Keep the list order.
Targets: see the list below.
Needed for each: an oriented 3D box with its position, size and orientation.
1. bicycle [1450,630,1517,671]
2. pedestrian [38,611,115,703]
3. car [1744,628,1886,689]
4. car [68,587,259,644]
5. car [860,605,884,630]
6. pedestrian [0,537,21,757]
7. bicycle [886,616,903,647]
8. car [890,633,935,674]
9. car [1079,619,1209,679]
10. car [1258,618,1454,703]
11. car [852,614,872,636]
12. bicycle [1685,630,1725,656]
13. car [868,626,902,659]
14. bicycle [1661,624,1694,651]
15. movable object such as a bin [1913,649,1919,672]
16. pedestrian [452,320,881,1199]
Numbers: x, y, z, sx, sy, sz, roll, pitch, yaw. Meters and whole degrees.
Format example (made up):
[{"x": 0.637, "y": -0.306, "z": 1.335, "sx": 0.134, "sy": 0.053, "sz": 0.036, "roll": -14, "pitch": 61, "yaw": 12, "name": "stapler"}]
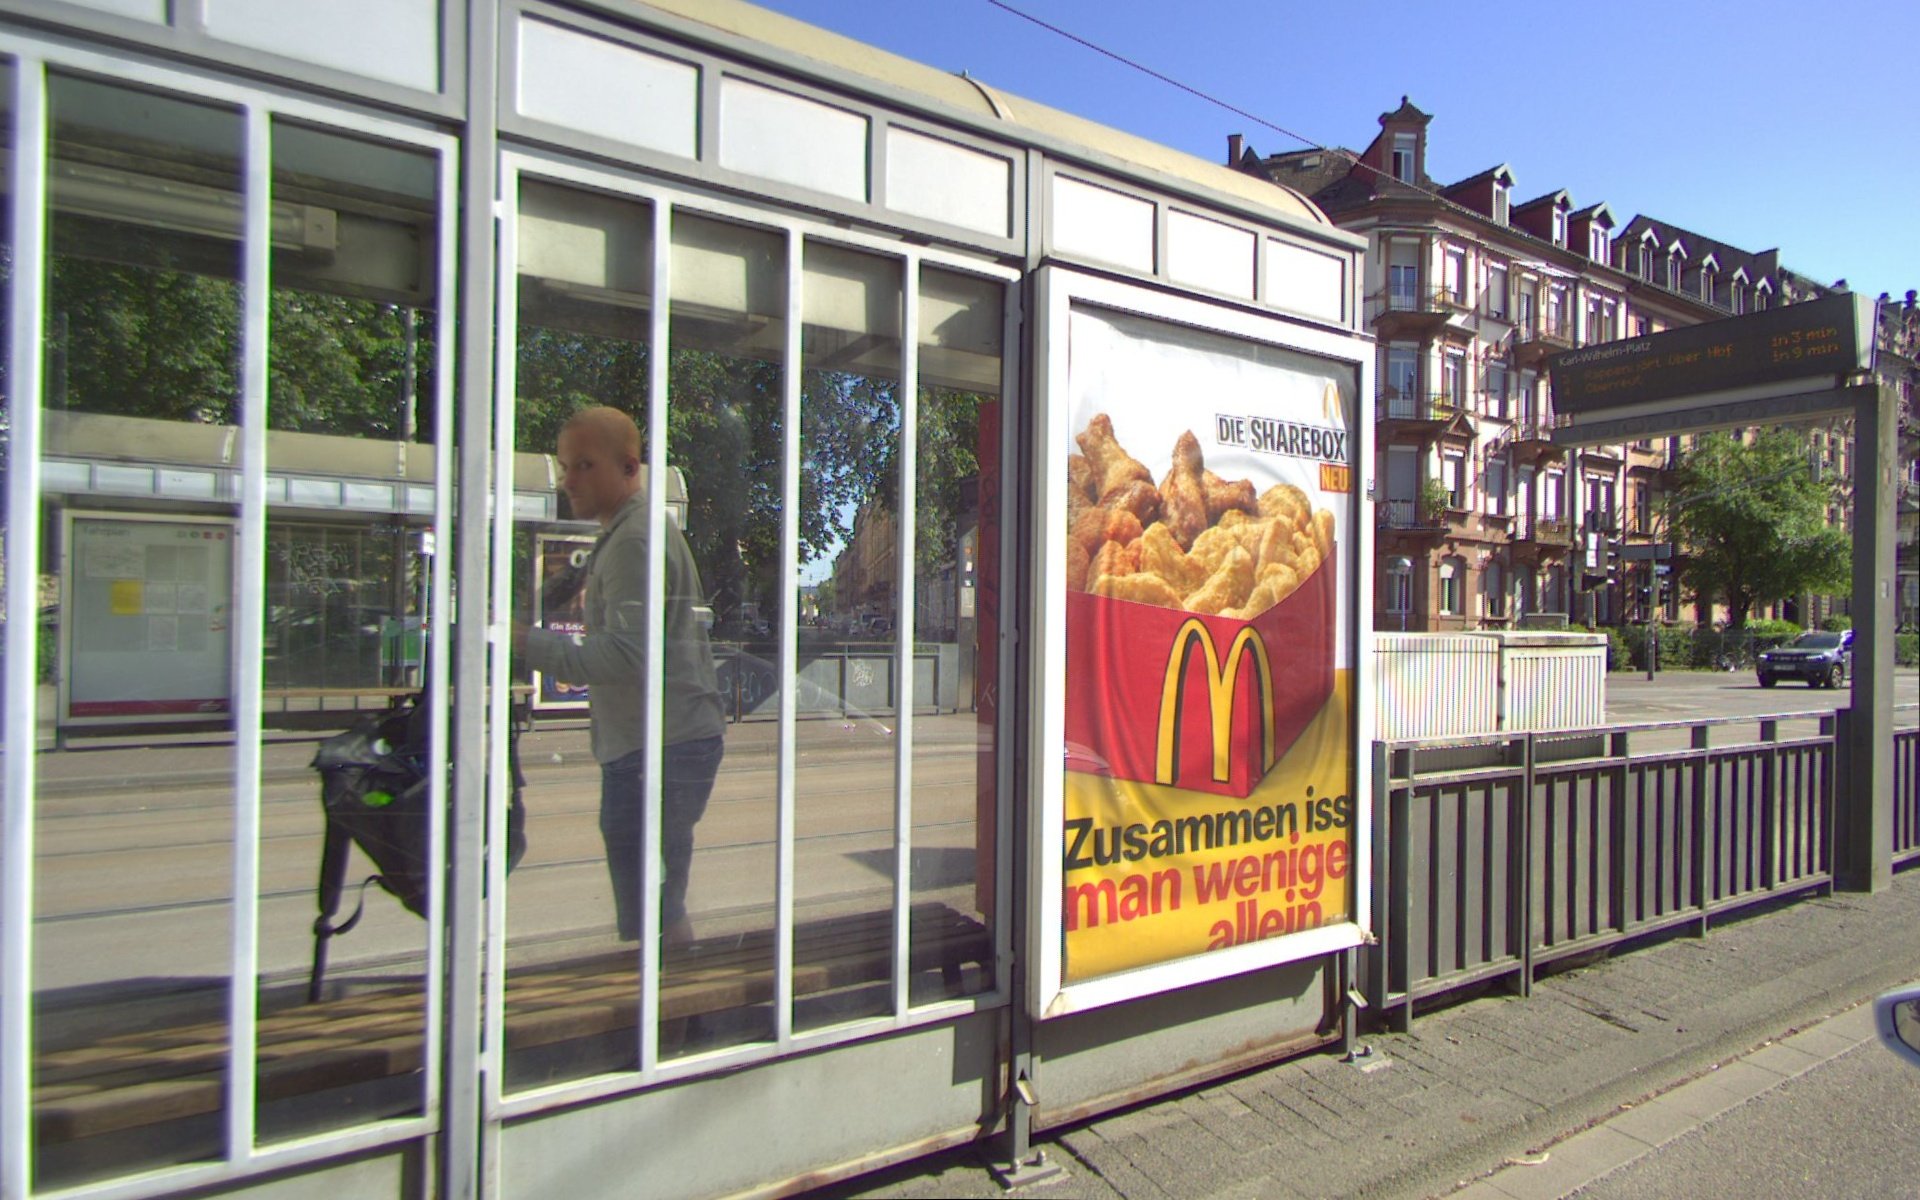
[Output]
[{"x": 18.160, "y": 1.735, "z": 34.876, "sx": 2.004, "sy": 1.313, "sz": 0.420, "roll": 2, "pitch": 0, "yaw": 11, "name": "bicycle"}, {"x": -13.017, "y": 0.823, "z": 14.823, "sx": 0.715, "sy": 1.298, "sz": 0.654, "roll": 1, "pitch": 0, "yaw": -30, "name": "pedestrian"}, {"x": 24.691, "y": 1.684, "z": 28.997, "sx": 4.216, "sy": 1.639, "sz": 1.888, "roll": 2, "pitch": -3, "yaw": -31, "name": "car"}, {"x": -18.973, "y": 0.367, "z": 24.003, "sx": 1.507, "sy": 1.232, "sz": 3.435, "roll": 2, "pitch": 0, "yaw": 45, "name": "car"}, {"x": -6.344, "y": 1.245, "z": 72.170, "sx": 1.534, "sy": 1.623, "sz": 3.452, "roll": 2, "pitch": 0, "yaw": -7, "name": "car"}, {"x": -8.295, "y": 0.383, "z": 8.295, "sx": 0.666, "sy": 1.808, "sz": 0.462, "roll": 1, "pitch": -1, "yaw": -32, "name": "pedestrian"}, {"x": -2.326, "y": 1.103, "z": 35.486, "sx": 0.563, "sy": 1.006, "sz": 1.548, "roll": 2, "pitch": 0, "yaw": -4, "name": "bicycle"}, {"x": -2.162, "y": 2.358, "z": 44.859, "sx": 1.683, "sy": 1.623, "sz": 3.452, "roll": 2, "pitch": 0, "yaw": -7, "name": "car"}, {"x": 5.159, "y": 1.345, "z": 28.512, "sx": 1.566, "sy": 1.461, "sz": 3.416, "roll": 1, "pitch": 0, "yaw": -40, "name": "car"}, {"x": 8.114, "y": 1.208, "z": 20.560, "sx": 3.750, "sy": 1.560, "sz": 1.684, "roll": 2, "pitch": 0, "yaw": -28, "name": "car"}, {"x": -8.213, "y": 2.075, "z": 83.932, "sx": 1.534, "sy": 1.623, "sz": 3.452, "roll": 2, "pitch": 0, "yaw": -7, "name": "car"}, {"x": 27.431, "y": 1.582, "z": 36.994, "sx": 1.917, "sy": 0.938, "sz": 0.340, "roll": 2, "pitch": 0, "yaw": -27, "name": "bicycle"}, {"x": -4.177, "y": 2.318, "z": 55.588, "sx": 1.694, "sy": 1.626, "sz": 3.452, "roll": 2, "pitch": 0, "yaw": -7, "name": "car"}, {"x": 25.844, "y": 1.355, "z": 36.172, "sx": 1.433, "sy": 0.938, "sz": 0.340, "roll": 2, "pitch": 0, "yaw": -27, "name": "bicycle"}, {"x": 46.074, "y": 2.915, "z": 48.120, "sx": 0.534, "sy": 1.100, "sz": 0.477, "roll": 1, "pitch": 0, "yaw": -29, "name": "movable object such as a bin"}, {"x": -0.794, "y": 0.378, "z": 2.611, "sx": 0.884, "sy": 1.897, "sz": 0.768, "roll": 1, "pitch": 2, "yaw": -28, "name": "pedestrian"}]
